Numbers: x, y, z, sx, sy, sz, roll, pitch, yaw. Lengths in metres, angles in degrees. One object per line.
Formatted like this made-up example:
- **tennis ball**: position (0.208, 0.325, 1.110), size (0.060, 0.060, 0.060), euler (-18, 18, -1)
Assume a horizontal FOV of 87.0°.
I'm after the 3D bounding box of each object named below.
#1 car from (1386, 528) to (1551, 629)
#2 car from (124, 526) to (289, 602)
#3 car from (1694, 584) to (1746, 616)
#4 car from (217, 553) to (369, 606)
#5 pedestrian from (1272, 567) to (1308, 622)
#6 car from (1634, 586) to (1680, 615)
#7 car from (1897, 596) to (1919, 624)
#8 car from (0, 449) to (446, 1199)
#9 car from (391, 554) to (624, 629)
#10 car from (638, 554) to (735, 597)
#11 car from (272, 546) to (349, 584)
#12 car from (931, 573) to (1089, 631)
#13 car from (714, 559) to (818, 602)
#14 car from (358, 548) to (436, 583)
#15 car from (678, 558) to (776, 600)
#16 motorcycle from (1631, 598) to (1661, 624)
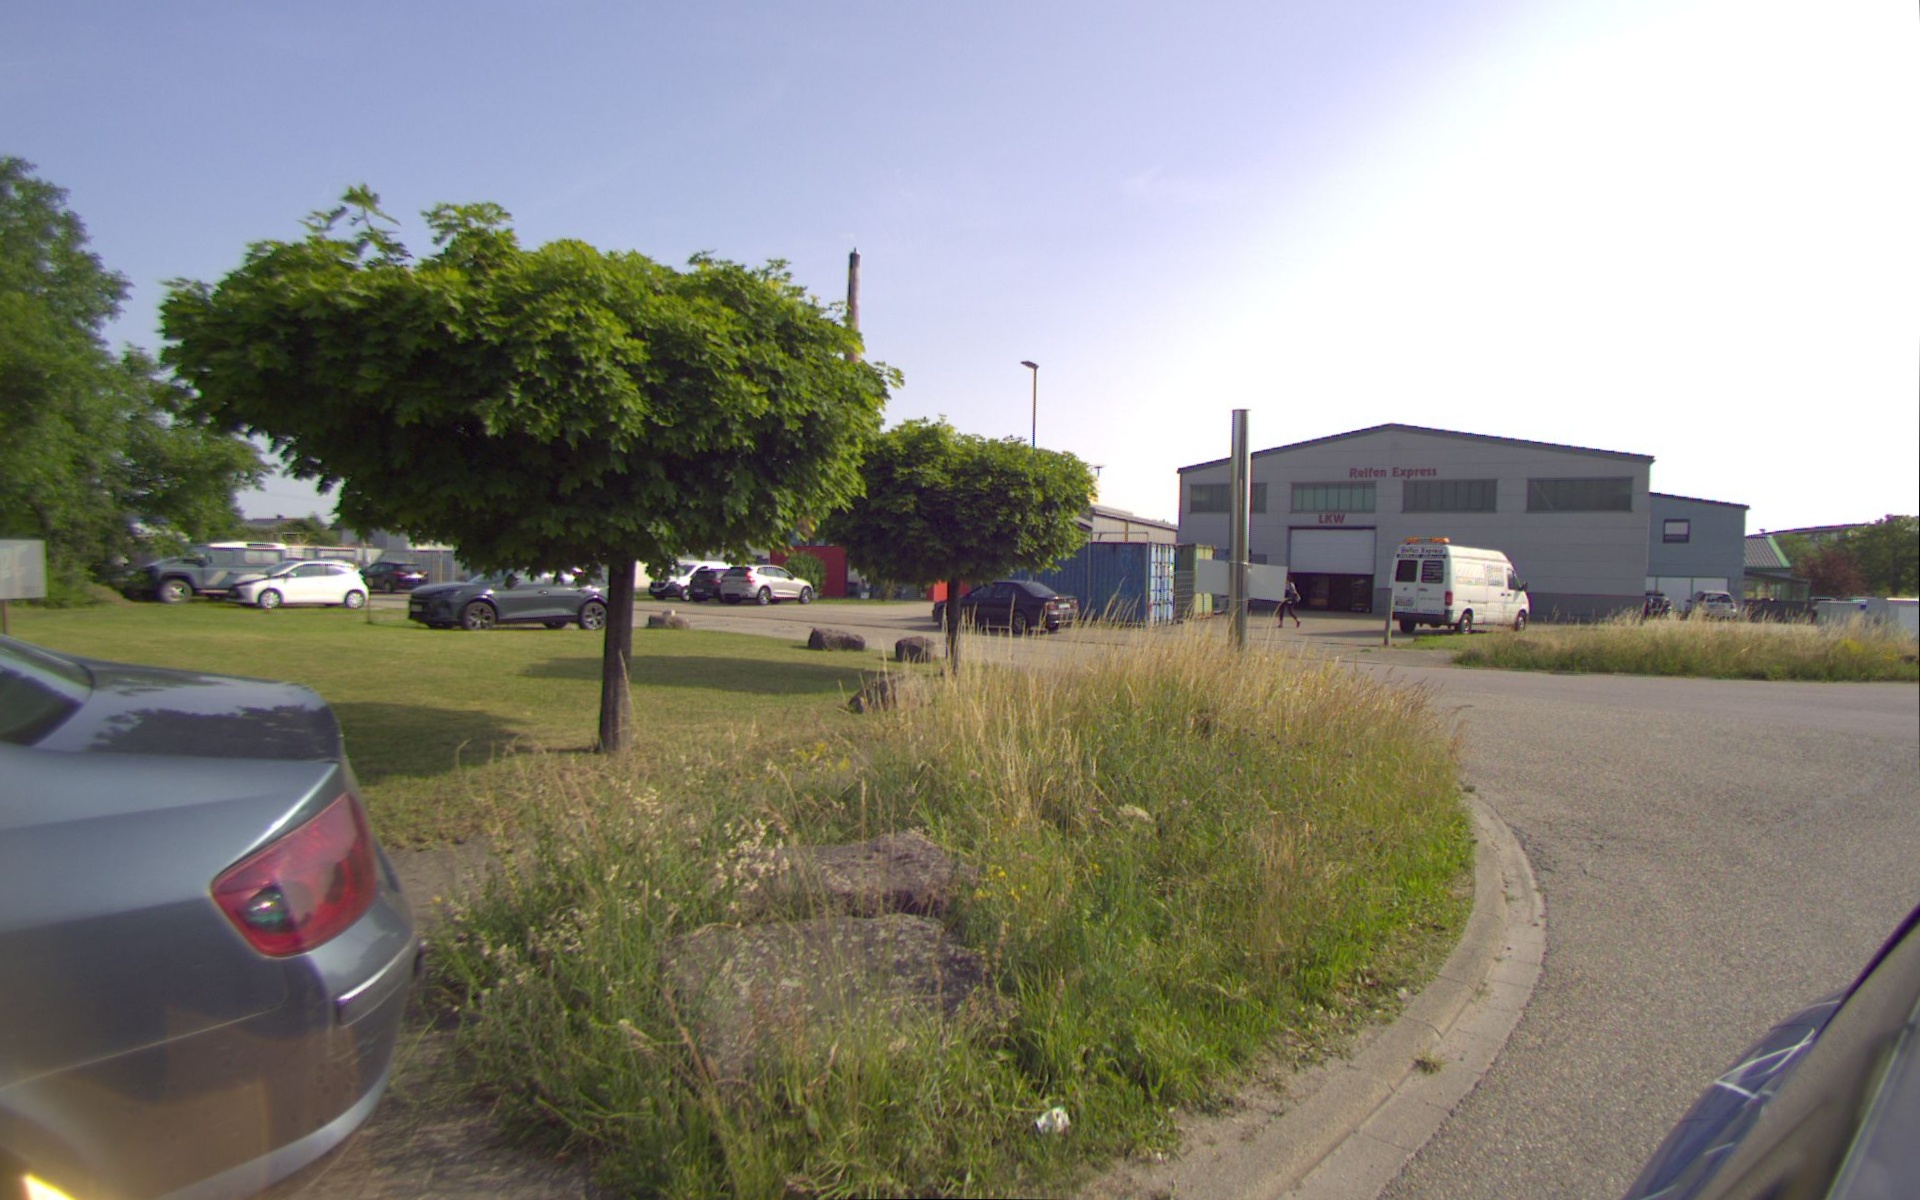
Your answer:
- **car**: position (15.238, -0.597, 30.187), size (5.771, 2.739, 1.980), euler (1, 1, -37)
- **car**: position (-23.354, -1.072, 31.483), size (1.673, 1.981, 3.664), euler (4, -1, 32)
- **car**: position (39.874, -0.021, 53.153), size (1.625, 1.587, 3.766), euler (2, 1, 29)
- **car**: position (-19.853, -0.633, 30.235), size (1.551, 1.468, 3.478), euler (3, 3, 32)
- **pedestrian**: position (10.288, -0.178, 31.561), size (0.733, 1.660, 0.706), euler (1, 1, -23)
- **car**: position (37.175, -0.002, 54.046), size (1.668, 1.420, 3.673), euler (2, 1, 29)
- **car**: position (57.750, 0.615, 60.292), size (1.704, 1.592, 4.095), euler (2, 1, 27)
- **car**: position (-3.159, 0.505, 1.100), size (4.345, 1.536, 1.798), euler (0, 2, -40)
- **car**: position (-9.707, -0.189, 21.992), size (1.778, 1.426, 4.288), euler (3, 2, 37)
- **car**: position (-12.213, -1.079, 45.374), size (1.702, 1.819, 4.161), euler (3, 2, 31)
- **car**: position (-32.777, -1.782, 51.046), size (3.977, 1.749, 1.974), euler (3, 2, 36)
- **car**: position (1.377, -0.007, 29.095), size (4.459, 1.426, 1.783), euler (3, 3, 43)
- **car**: position (-8.056, -0.817, 42.377), size (1.773, 1.653, 4.418), euler (3, 2, 31)
- **car**: position (-26.925, -1.639, 48.388), size (3.564, 1.540, 1.813), euler (3, 2, 34)
- **car**: position (-10.032, -0.897, 43.835), size (1.773, 1.653, 4.161), euler (3, 2, 31)
- **motorcycle**: position (30.546, 0.472, 45.091), size (0.795, 1.108, 2.182), euler (2, 1, 27)
